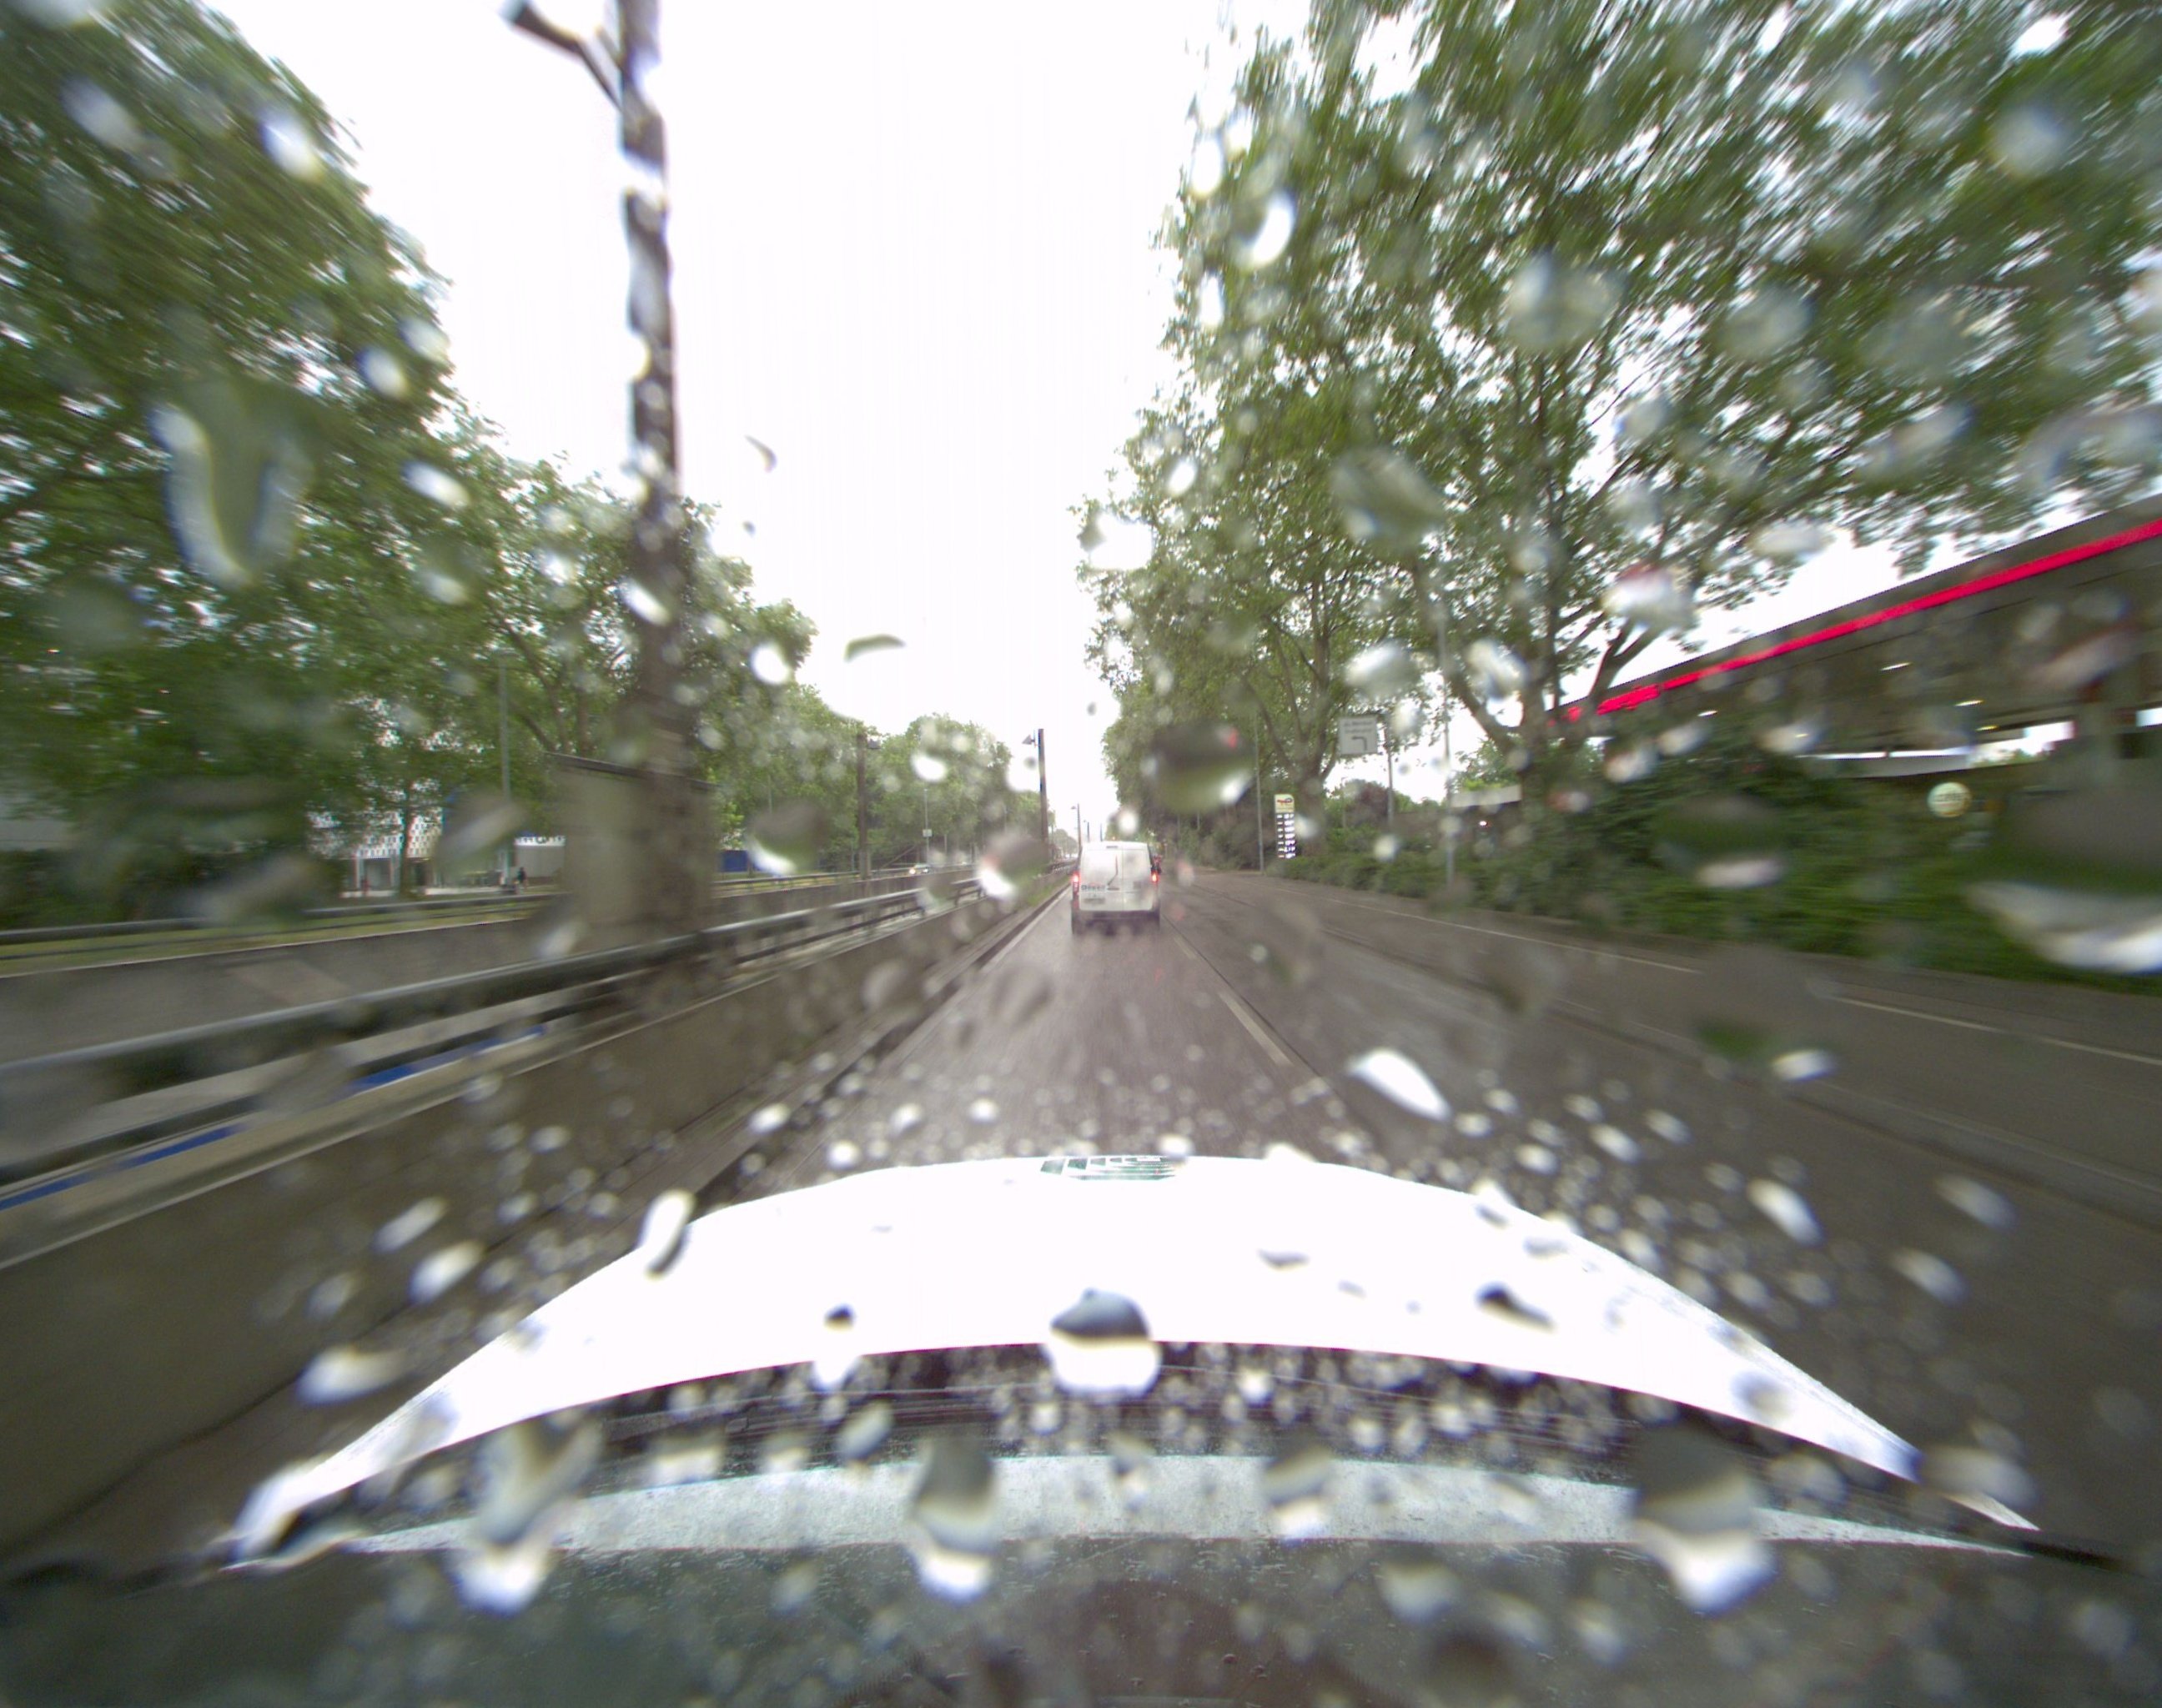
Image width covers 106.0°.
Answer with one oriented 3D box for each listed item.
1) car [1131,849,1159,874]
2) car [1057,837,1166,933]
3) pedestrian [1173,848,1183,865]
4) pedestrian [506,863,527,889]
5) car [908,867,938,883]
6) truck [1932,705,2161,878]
[{"bbox_3d":[4.742,0.558,59.915,1.984,1.750,4.005,0,0,5],"label":"car"},{"bbox_3d":[0.625,0.578,17.336,2.017,1.775,4.275,0,0,1],"label":"car"},{"bbox_3d":[10.383,0.263,87.200,0.963,1.702,1.141,-1,0,3],"label":"pedestrian"},{"bbox_3d":[-43.021,1.665,62.073,0.997,2.014,0.791,0,0,3],"label":"pedestrian"},{"bbox_3d":[-15.807,2.122,81.595,1.985,1.403,3.798,-2,0,4],"label":"car"},{"bbox_3d":[22.246,-1.209,16.132,2.685,3.352,7.768,0,0,0],"label":"truck"}]
